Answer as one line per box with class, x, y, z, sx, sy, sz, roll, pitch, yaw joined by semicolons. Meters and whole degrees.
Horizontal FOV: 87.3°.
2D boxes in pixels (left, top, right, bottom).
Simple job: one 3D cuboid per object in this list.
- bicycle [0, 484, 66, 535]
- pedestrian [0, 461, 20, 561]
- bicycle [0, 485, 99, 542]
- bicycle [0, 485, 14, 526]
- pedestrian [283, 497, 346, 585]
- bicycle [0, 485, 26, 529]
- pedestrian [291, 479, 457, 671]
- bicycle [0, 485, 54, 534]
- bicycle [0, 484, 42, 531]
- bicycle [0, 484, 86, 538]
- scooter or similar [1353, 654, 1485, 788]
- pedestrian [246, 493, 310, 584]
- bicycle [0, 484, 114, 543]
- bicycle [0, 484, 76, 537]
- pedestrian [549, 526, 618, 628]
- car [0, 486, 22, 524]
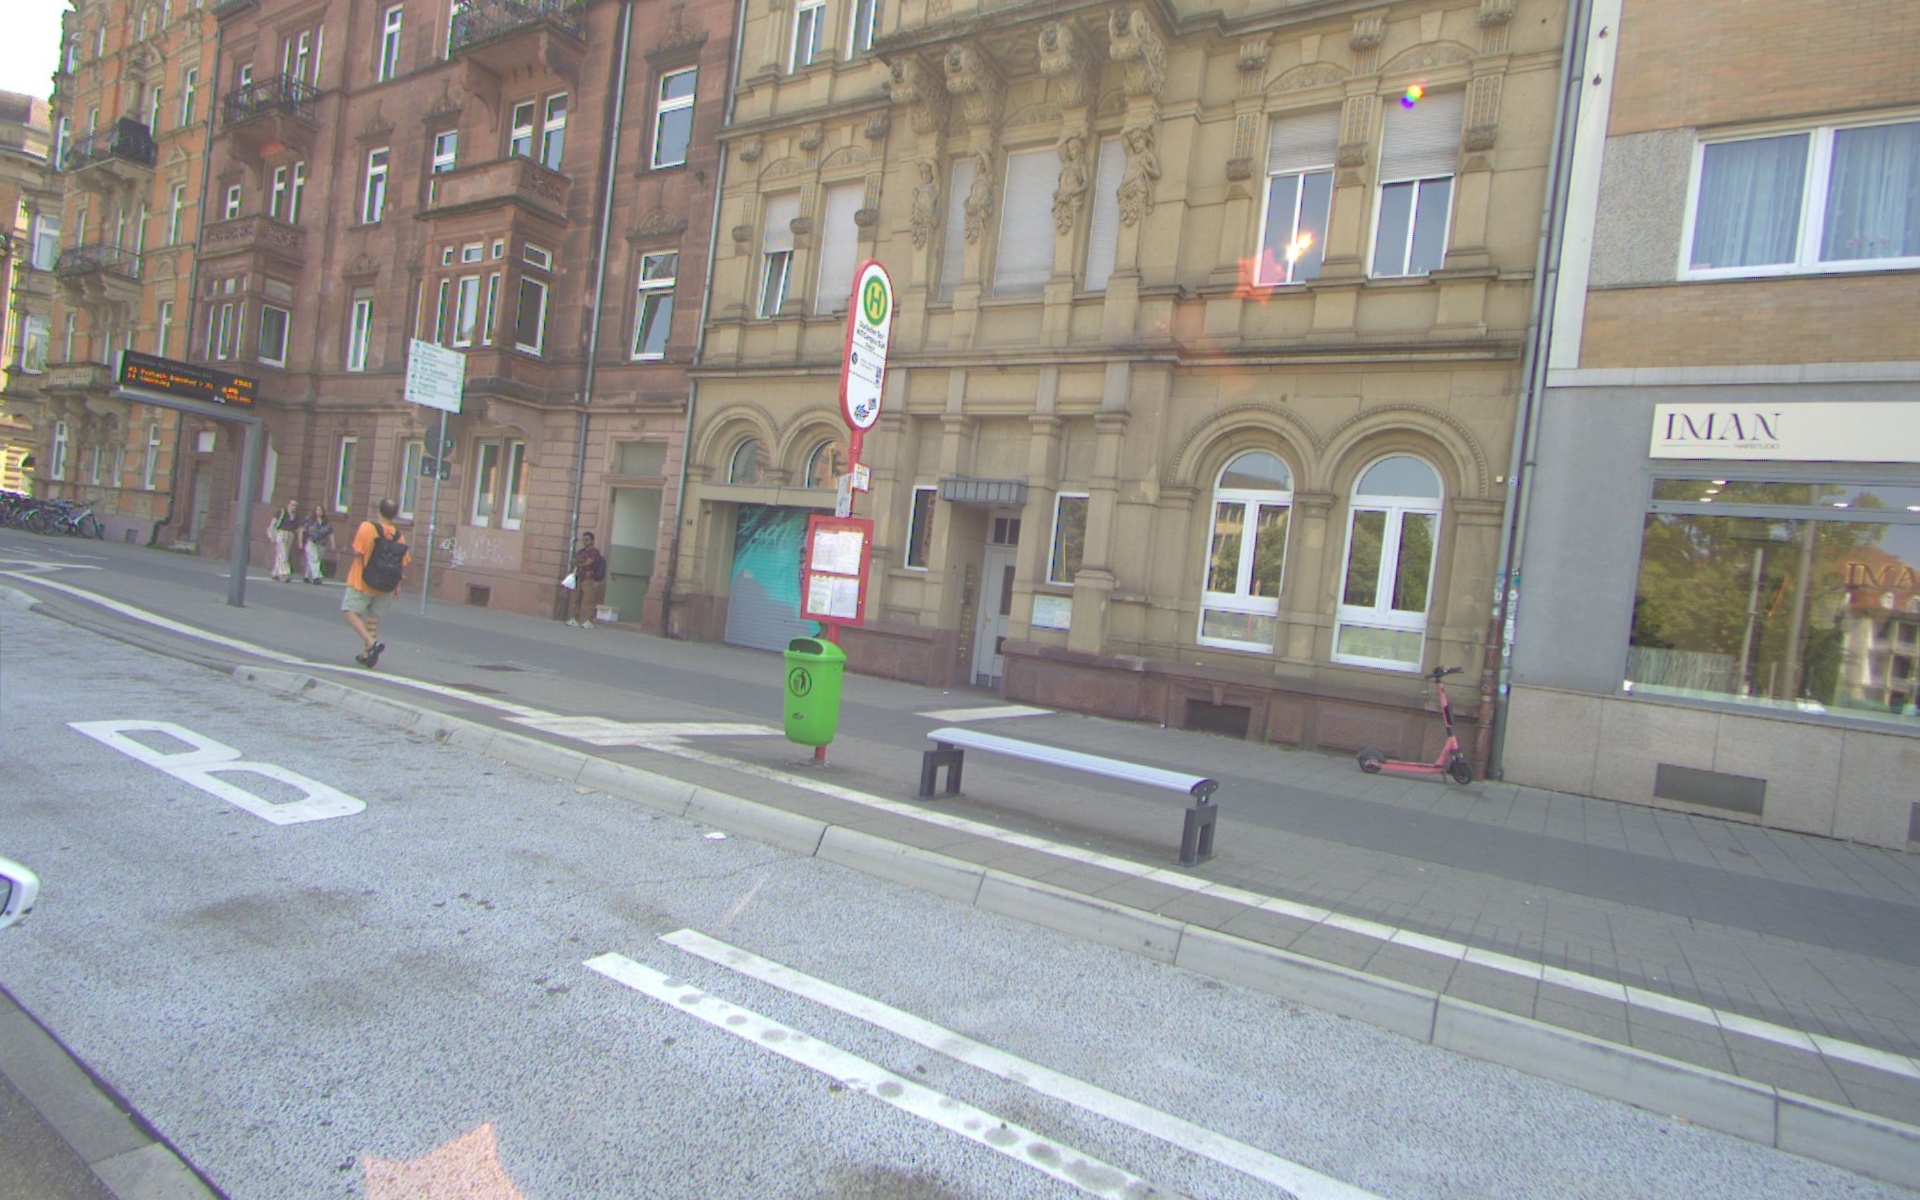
bicycle;-30.209;-2.942;31.559;0.932;1.390;3.007;7;0;31
pedestrian;-17.489;-1.620;17.799;0.884;1.763;0.768;6;2;-1
bicycle;-27.879;-2.625;30.118;0.857;1.388;2.997;7;0;31
bicycle;-33.967;-3.384;33.785;0.932;1.390;3.007;7;0;31
pedestrian;-14.202;-1.293;22.129;0.856;1.800;0.715;7;1;30
bicycle;-33.084;-3.262;33.280;0.932;1.390;3.007;7;0;31
pedestrian;-5.901;-0.239;10.125;1.222;1.761;0.963;4;-1;40
bicycle;-31.113;-3.031;32.137;0.932;1.390;3.007;7;0;31
bicycle;-31.968;-3.162;32.628;0.932;1.390;3.007;7;0;31
bicycle;-28.651;-2.767;30.557;0.857;1.388;2.997;7;0;31
scooter or similar;4.885;1.263;10.733;1.122;1.228;0.476;7;1;27
pedestrian;-14.566;-1.310;21.487;0.833;1.798;0.715;7;1;31
bicycle;-27.073;-2.575;29.726;0.857;1.388;2.997;7;0;31
bicycle;-29.426;-2.843;31.069;0.857;1.388;2.997;7;0;31
pedestrian;-7.037;-0.410;18.831;0.729;1.800;0.870;7;1;4
car;-42.005;-4.228;41.870;1.652;1.539;3.942;7;0;24
